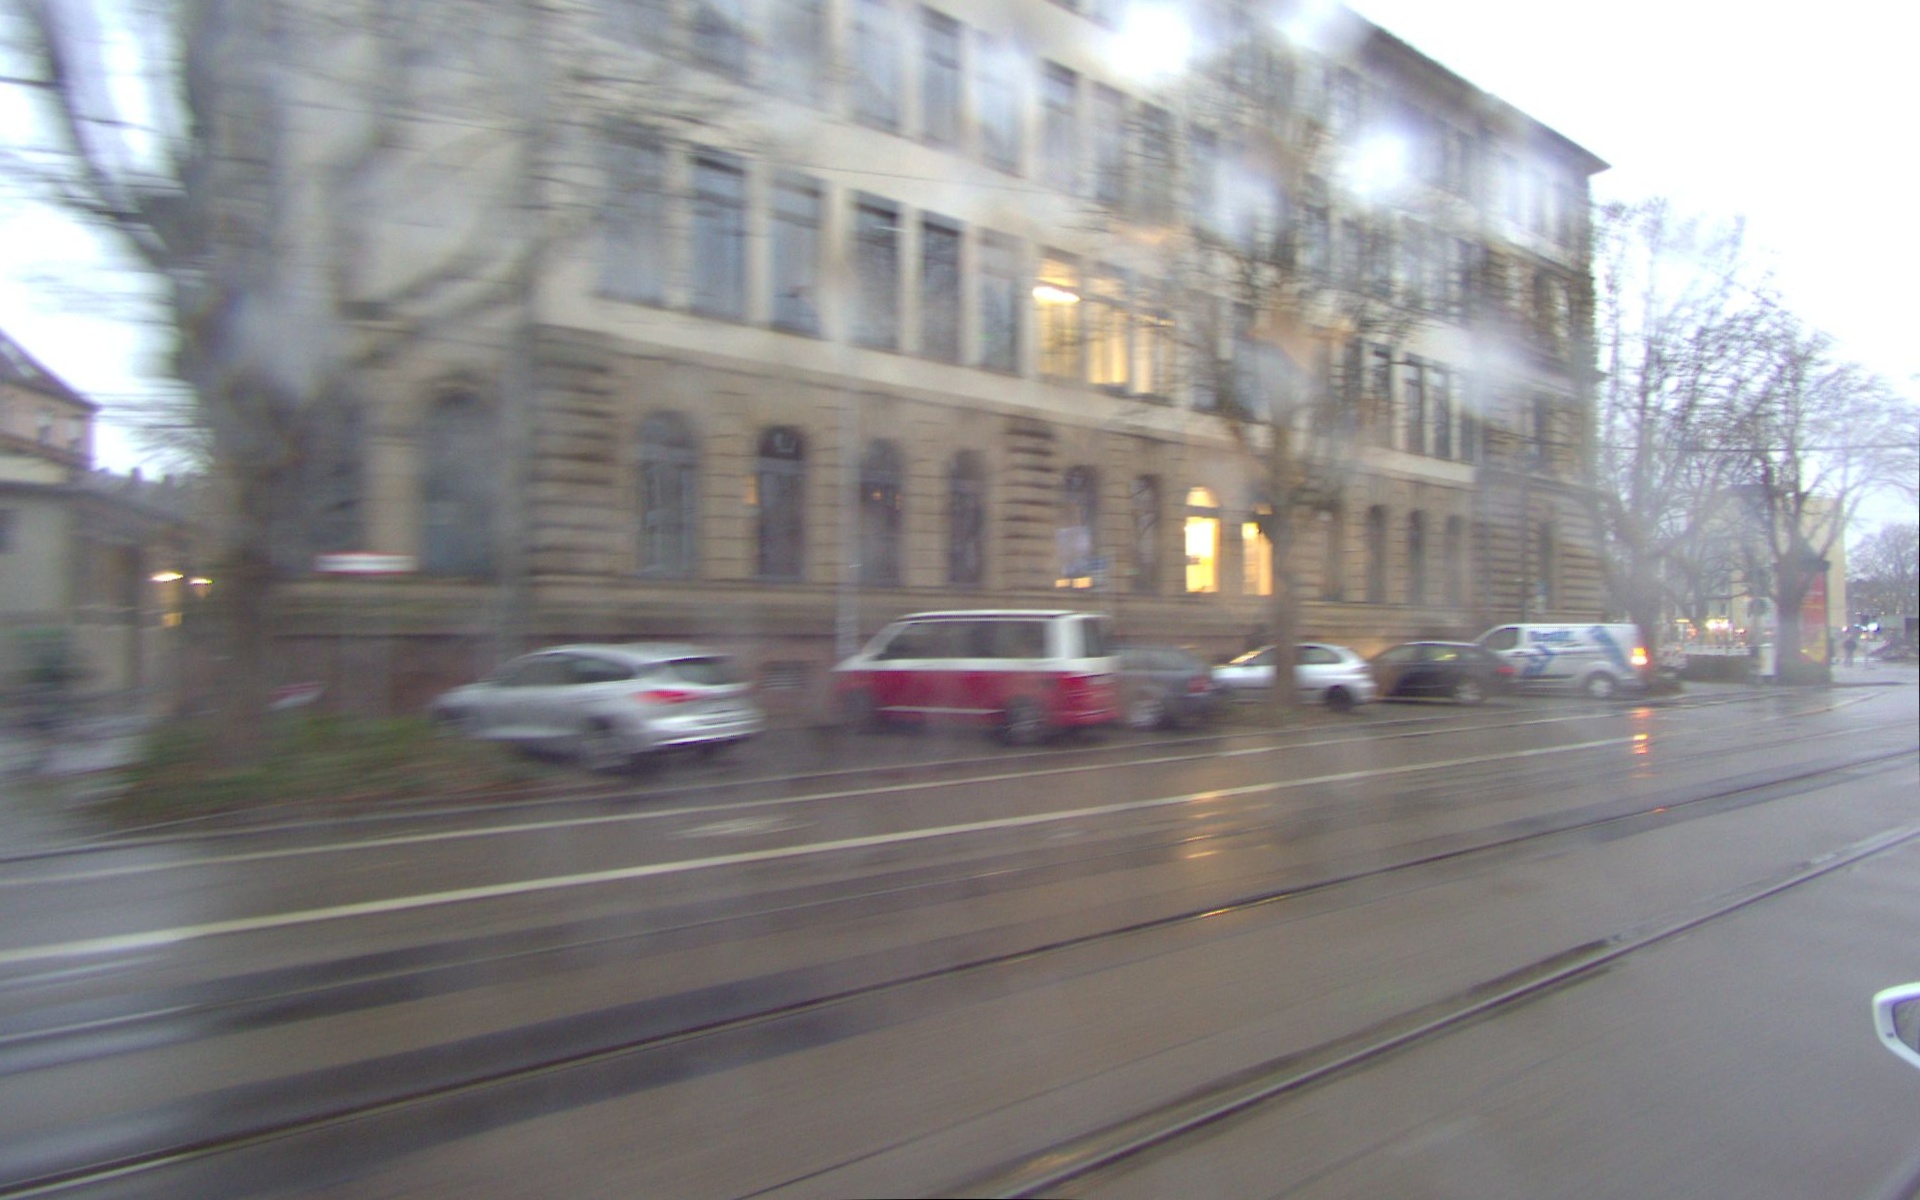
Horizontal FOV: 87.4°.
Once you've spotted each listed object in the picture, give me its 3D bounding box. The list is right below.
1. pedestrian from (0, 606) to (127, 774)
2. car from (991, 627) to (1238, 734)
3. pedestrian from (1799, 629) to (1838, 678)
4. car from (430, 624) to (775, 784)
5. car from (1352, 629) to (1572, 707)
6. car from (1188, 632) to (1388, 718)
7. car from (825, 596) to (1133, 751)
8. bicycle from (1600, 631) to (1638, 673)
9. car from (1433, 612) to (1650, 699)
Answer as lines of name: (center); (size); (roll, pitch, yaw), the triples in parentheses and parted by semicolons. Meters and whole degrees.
pedestrian: (-9.975, 0.949, 11.089); (0.908, 1.726, 0.945); (2, 0, 33)
car: (2.716, 1.331, 17.781); (3.904, 1.560, 1.821); (2, 0, 29)
pedestrian: (43.220, 2.698, 50.582); (1.044, 2.402, 0.996); (2, 0, -4)
car: (-4.565, 1.182, 12.763); (4.107, 1.612, 1.773); (2, 0, 27)
car: (11.584, 1.511, 23.340); (4.397, 1.477, 1.797); (2, 0, 30)
car: (6.751, 1.482, 20.707); (3.753, 1.477, 1.637); (2, 0, 23)
car: (0.264, 1.054, 16.171); (4.538, 2.081, 1.963); (2, 0, 29)
bicycle: (29.195, 2.284, 44.551); (0.699, 1.711, 2.430); (2, 0, 17)
car: (15.449, 1.427, 27.006); (4.709, 2.061, 1.913); (2, 0, 19)
